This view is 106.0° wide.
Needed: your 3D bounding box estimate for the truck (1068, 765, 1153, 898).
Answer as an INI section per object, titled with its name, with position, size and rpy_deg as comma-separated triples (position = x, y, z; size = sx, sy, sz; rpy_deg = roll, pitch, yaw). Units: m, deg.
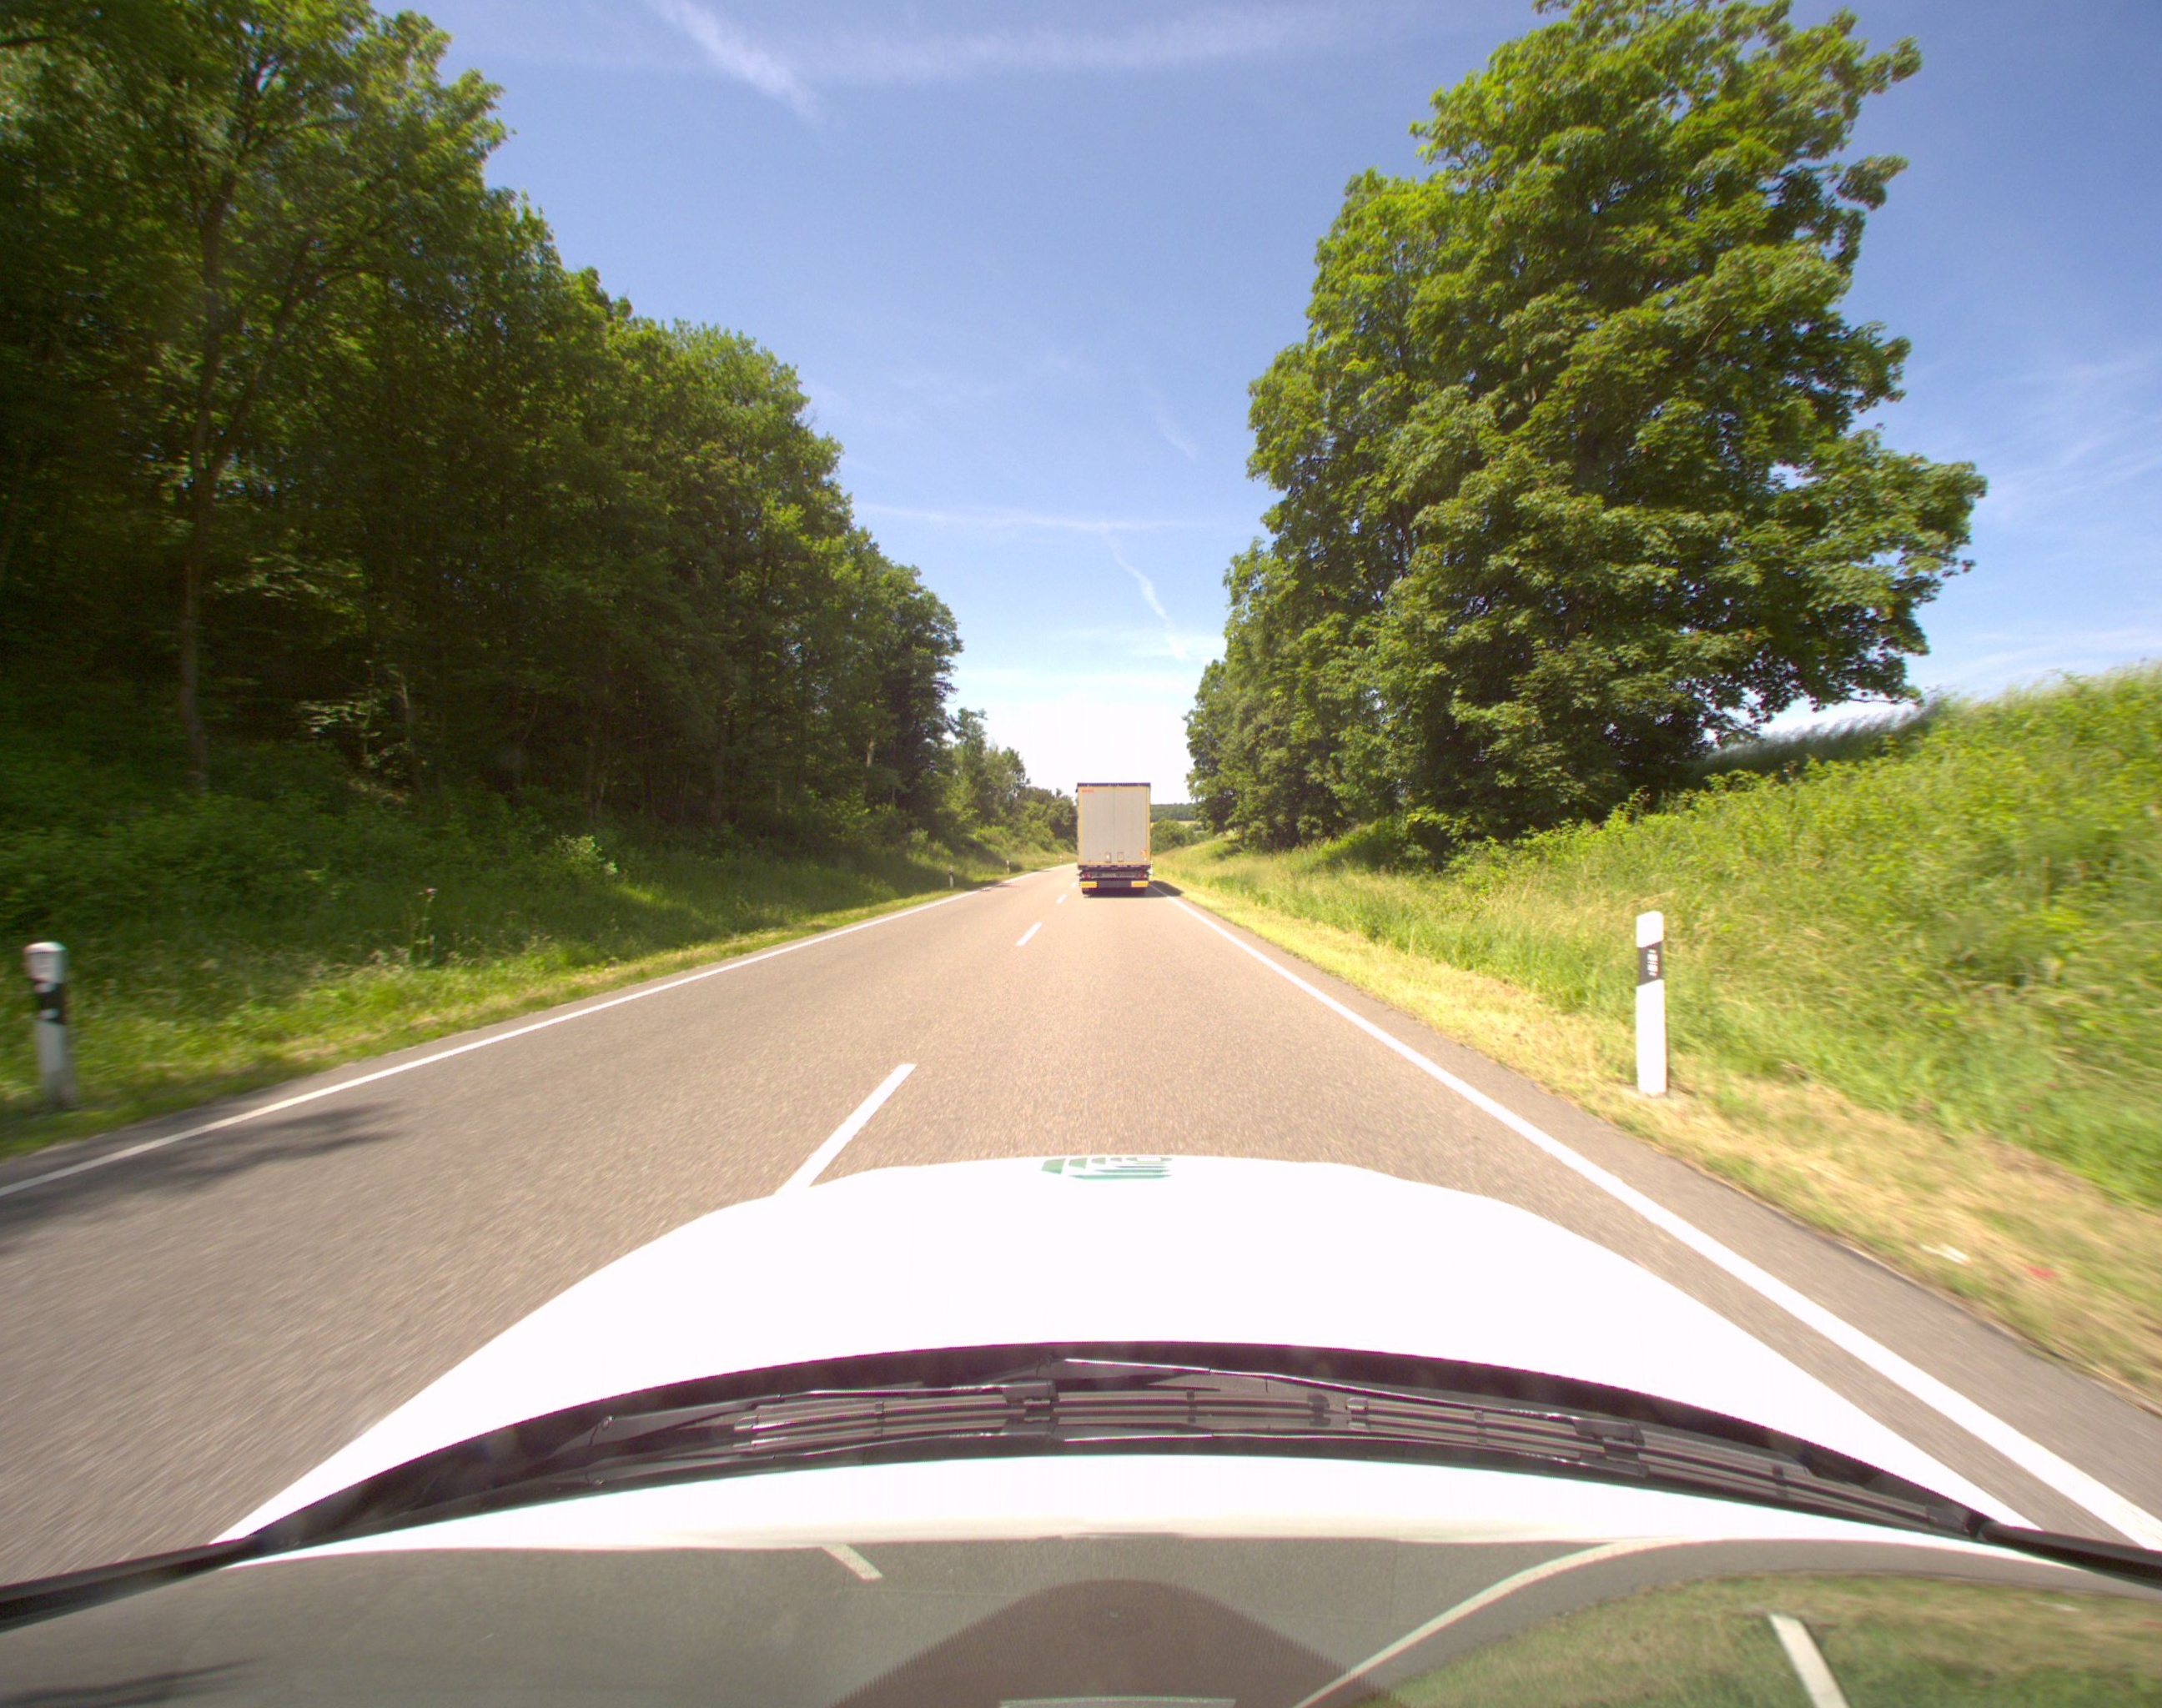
[truck]
position = 1.218, -0.783, 33.946
size = 2.807, 4.532, 11.773
rpy_deg = -1, 0, 2
